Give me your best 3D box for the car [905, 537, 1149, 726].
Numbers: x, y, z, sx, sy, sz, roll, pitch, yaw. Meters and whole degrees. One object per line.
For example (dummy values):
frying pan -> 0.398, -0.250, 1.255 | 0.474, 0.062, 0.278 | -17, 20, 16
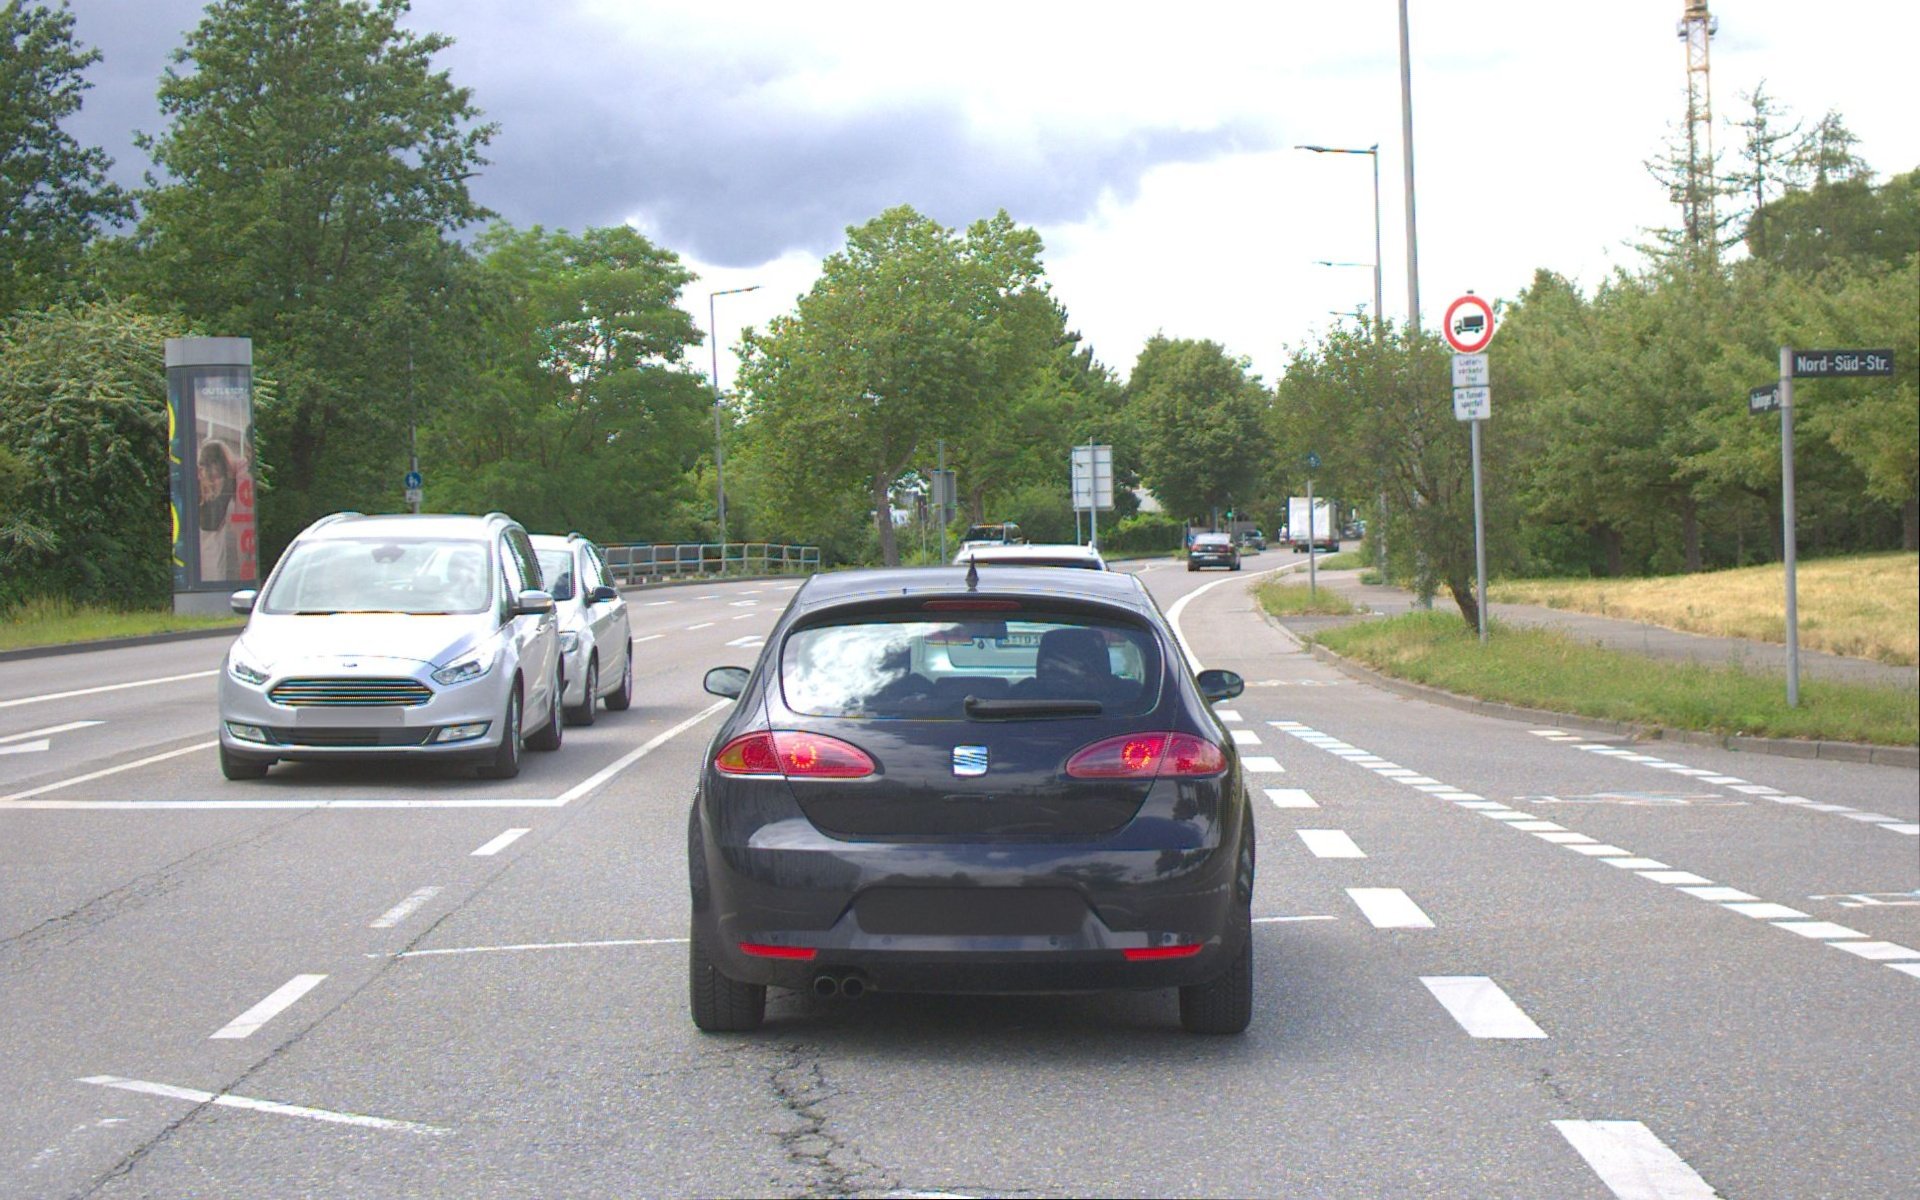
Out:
car -> 0.499, 0.232, 28.887 | 1.834, 1.462, 3.751 | 1, 0, -2

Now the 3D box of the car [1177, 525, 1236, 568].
car -> 9.311, -2.037, 129.574 | 1.994, 1.560, 4.470 | 0, 1, 7

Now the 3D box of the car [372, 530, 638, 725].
car -> -3.789, 0.179, 29.234 | 1.660, 1.513, 4.084 | 0, 1, 1

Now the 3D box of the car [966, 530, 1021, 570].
car -> 1.370, -2.025, 140.033 | 1.715, 1.576, 3.741 | 1, 0, 9

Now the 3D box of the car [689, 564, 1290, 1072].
car -> -0.008, 0.607, 11.549 | 1.711, 1.412, 3.460 | 0, 1, -3

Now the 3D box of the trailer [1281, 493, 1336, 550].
trailer -> 19.433, -4.339, 191.645 | 2.492, 3.063, 5.584 | 1, 0, 11

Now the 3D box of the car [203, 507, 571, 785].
car -> -3.748, 0.225, 23.238 | 1.820, 1.681, 4.646 | 1, 1, -2
